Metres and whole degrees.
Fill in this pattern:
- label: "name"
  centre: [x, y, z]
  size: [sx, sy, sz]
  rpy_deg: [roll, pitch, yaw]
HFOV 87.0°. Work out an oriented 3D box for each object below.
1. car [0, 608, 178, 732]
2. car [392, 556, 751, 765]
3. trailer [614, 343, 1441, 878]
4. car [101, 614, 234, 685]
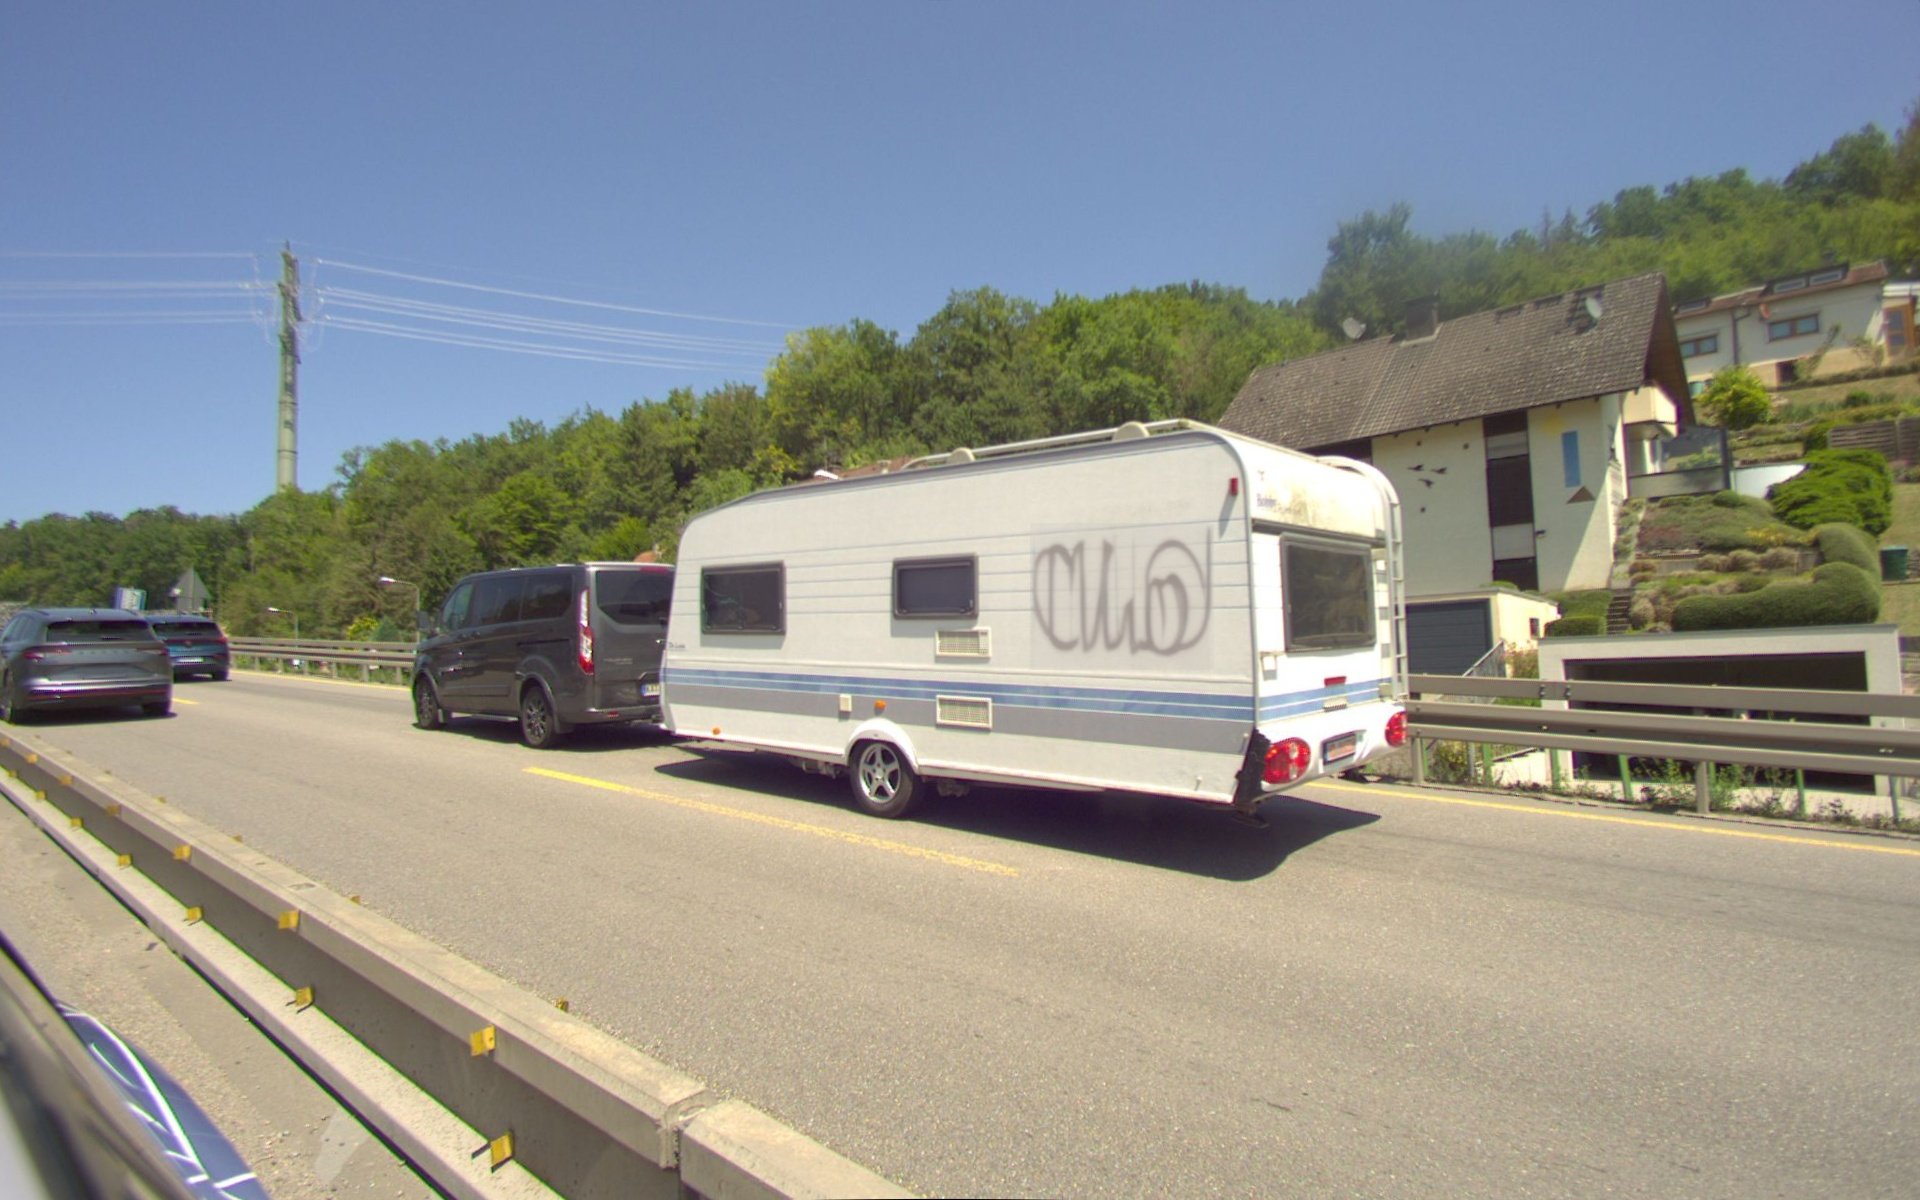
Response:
- label: "car"
  centre: [-13.447, 0.948, 15.195]
  size: [4.318, 1.599, 1.779]
  rpy_deg: [-1, -1, 39]
- label: "car"
  centre: [-4.862, 0.608, 12.241]
  size: [4.977, 2.029, 1.973]
  rpy_deg: [-1, -1, 41]
- label: "trailer"
  centre: [0.090, 0.083, 7.969]
  size: [6.238, 2.608, 2.573]
  rpy_deg: [-1, -1, 41]
- label: "car"
  centre: [-18.673, 1.117, 23.799]
  size: [3.851, 1.526, 1.610]
  rpy_deg: [-1, -1, 38]
